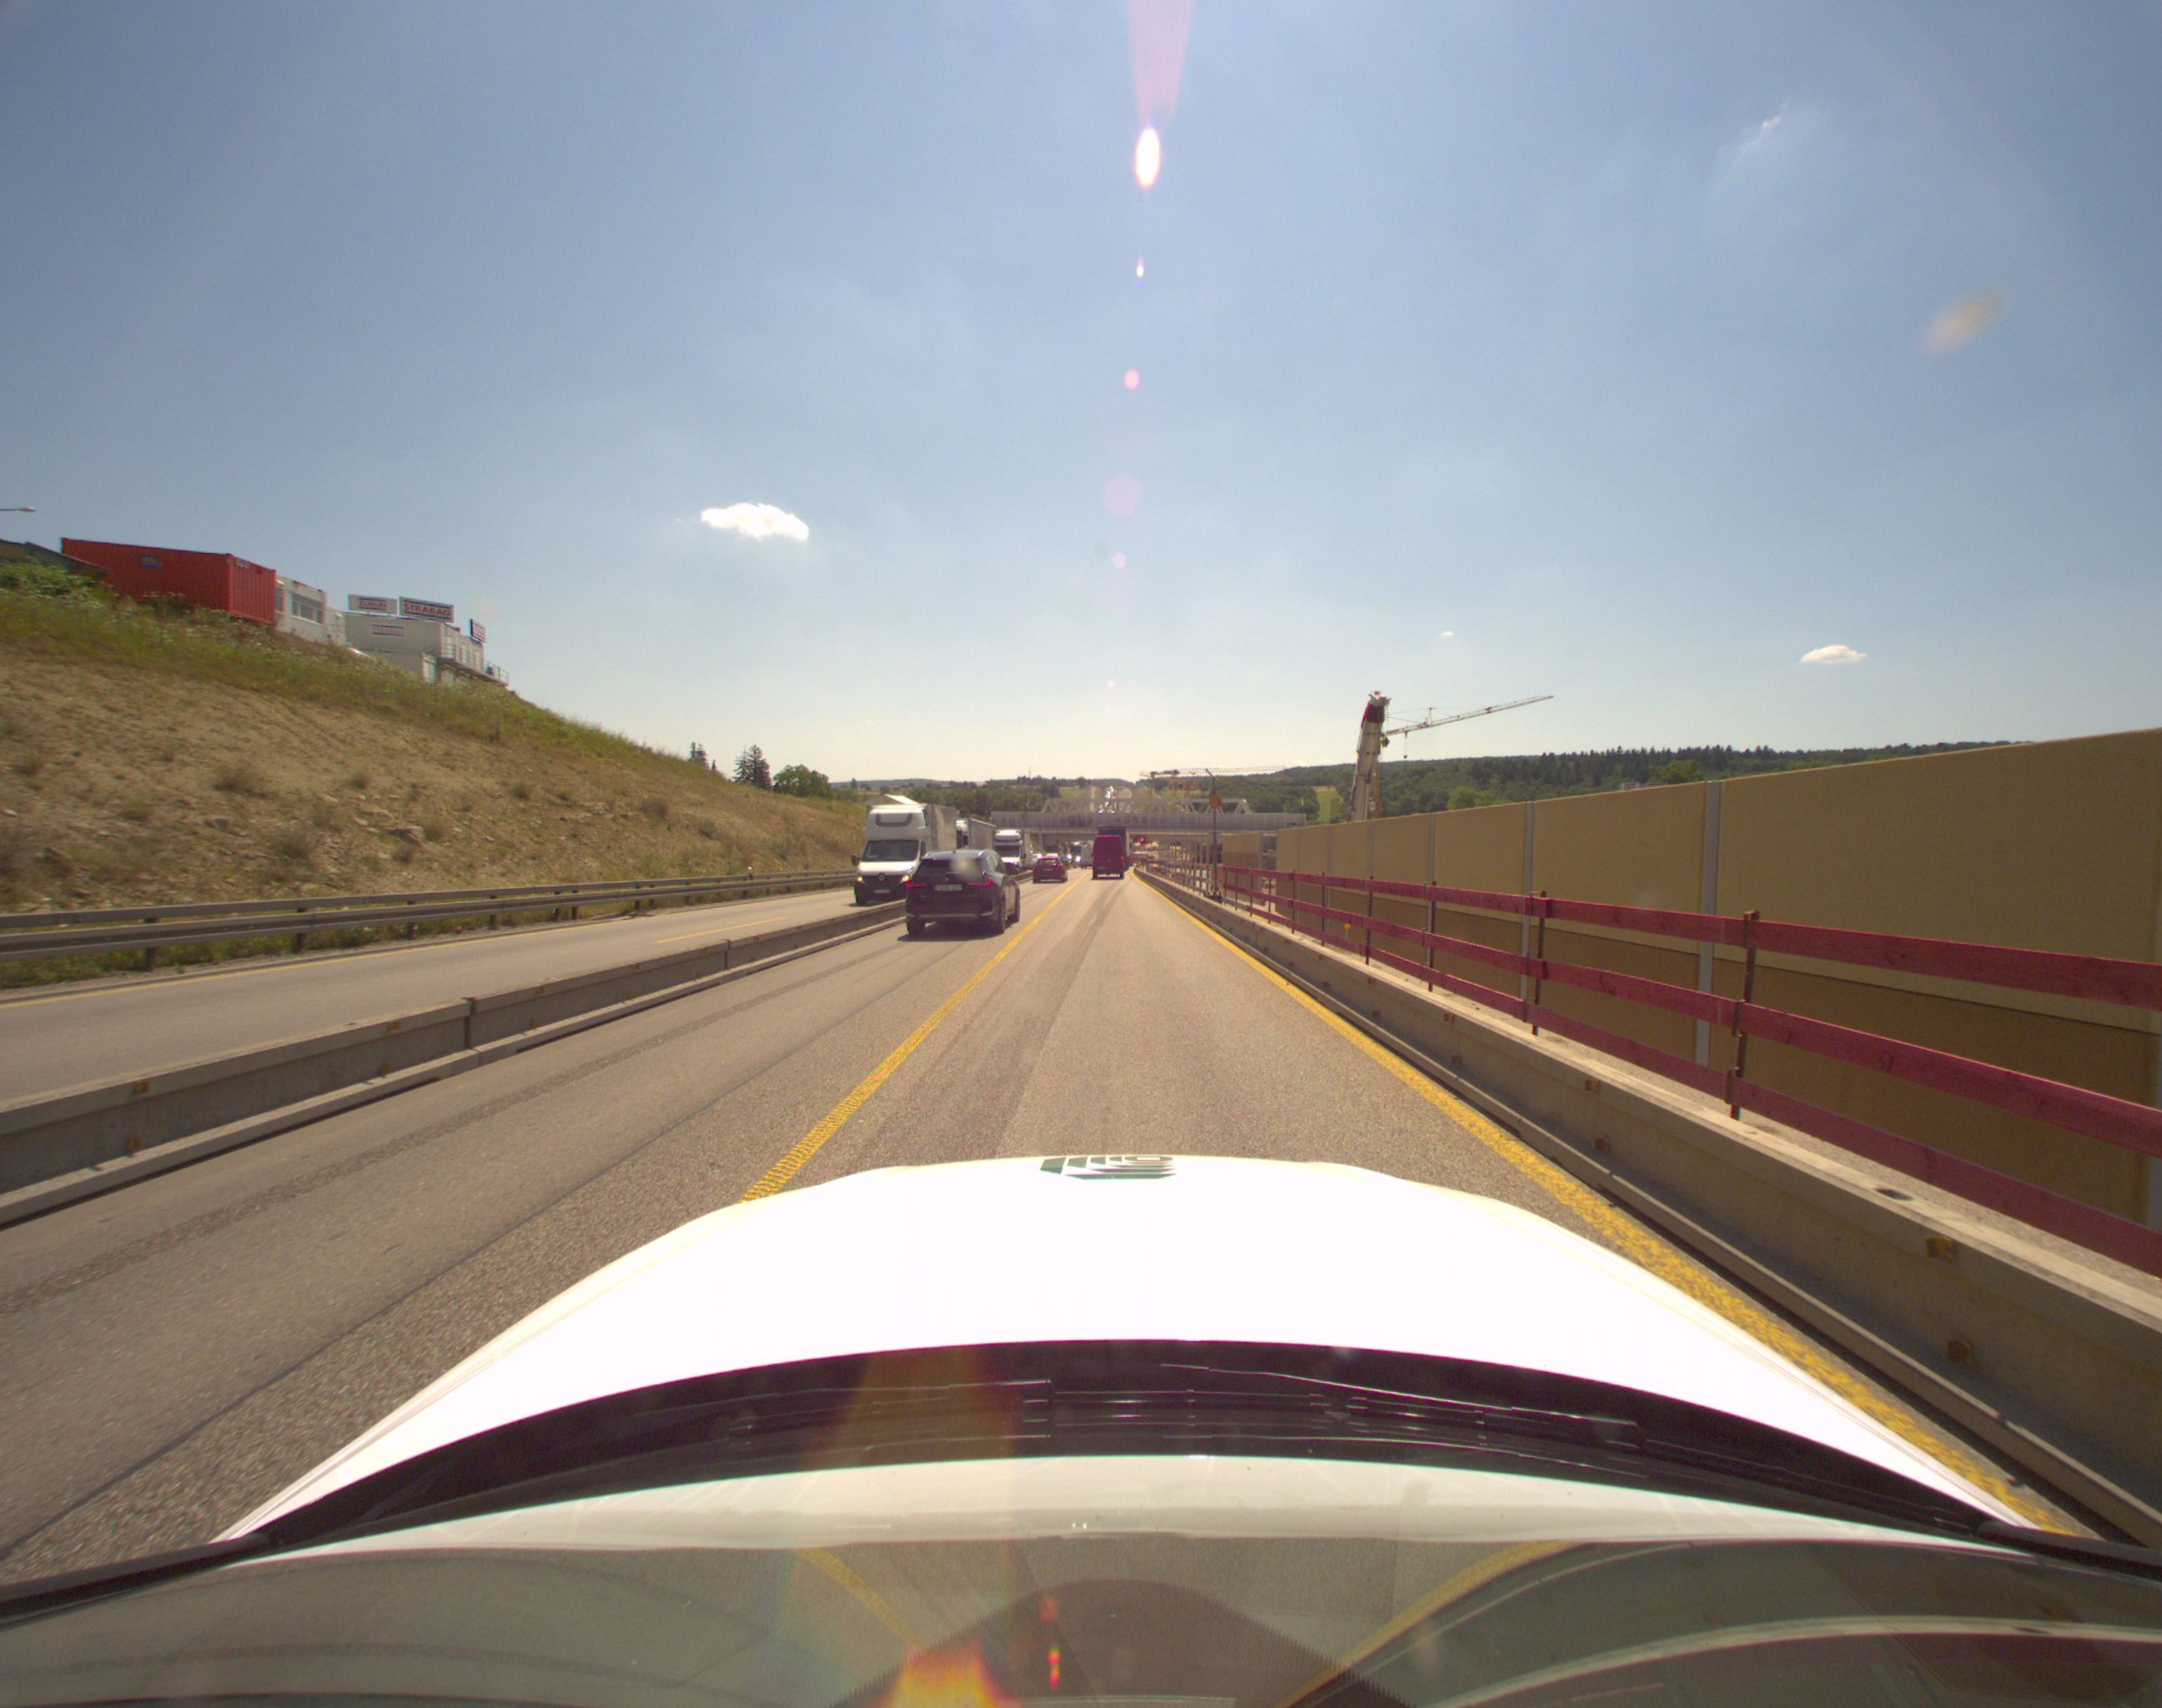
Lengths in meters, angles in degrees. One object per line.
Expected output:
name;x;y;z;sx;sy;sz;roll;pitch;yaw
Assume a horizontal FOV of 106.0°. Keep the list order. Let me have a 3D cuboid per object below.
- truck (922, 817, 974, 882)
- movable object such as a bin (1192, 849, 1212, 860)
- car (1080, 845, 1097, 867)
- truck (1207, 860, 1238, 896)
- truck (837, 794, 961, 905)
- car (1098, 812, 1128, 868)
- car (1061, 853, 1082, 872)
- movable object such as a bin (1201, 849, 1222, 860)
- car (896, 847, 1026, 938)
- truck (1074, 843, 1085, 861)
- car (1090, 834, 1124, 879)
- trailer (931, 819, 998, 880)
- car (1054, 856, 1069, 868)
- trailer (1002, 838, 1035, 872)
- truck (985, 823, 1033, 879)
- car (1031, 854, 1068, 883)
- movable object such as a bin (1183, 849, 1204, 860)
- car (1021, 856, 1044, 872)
truck;-8.581;-0.310;52.927;2.688;4.050;3.956;0;0;1
movable object such as a bin;30.546;0.095;205.617;5.118;2.807;2.147;0;0;7
car;0.884;0.240;92.755;1.769;2.441;4.207;-1;0;2
truck;15.731;2.590;90.851;2.747;3.886;5.887;0;0;3
truck;-6.047;-0.138;28.270;2.529;3.374;7.040;0;0;1
car;3.032;-1.267;78.015;2.611;5.032;10.400;-1;0;2
car;-0.843;0.736;75.519;1.833;1.654;4.166;-1;0;1
movable object such as a bin;31.828;0.114;198.436;5.118;2.807;2.147;0;0;7
car;-2.322;0.685;16.980;1.873;1.618;4.501;-1;0;2
truck;-0.409;-0.435;180.944;2.350;4.015;4.000;0;0;0
car;1.640;0.138;51.418;1.981;2.690;4.625;-1;0;2
trailer;-8.381;-0.285;60.774;2.688;4.024;13.706;0;0;1
car;-2.686;1.163;113.715;1.783;1.611;4.736;0;0;3
trailer;-7.220;0.111;95.732;2.580;3.801;11.922;0;0;2
truck;-5.036;-0.216;58.181;2.580;3.758;7.360;0;0;1
car;-1.704;0.766;45.470;1.769;1.517;4.207;-1;0;2
movable object such as a bin;29.043;0.135;210.255;5.118;2.807;2.147;0;0;7
car;-4.555;0.923;77.110;1.773;1.458;4.721;0;0;1
